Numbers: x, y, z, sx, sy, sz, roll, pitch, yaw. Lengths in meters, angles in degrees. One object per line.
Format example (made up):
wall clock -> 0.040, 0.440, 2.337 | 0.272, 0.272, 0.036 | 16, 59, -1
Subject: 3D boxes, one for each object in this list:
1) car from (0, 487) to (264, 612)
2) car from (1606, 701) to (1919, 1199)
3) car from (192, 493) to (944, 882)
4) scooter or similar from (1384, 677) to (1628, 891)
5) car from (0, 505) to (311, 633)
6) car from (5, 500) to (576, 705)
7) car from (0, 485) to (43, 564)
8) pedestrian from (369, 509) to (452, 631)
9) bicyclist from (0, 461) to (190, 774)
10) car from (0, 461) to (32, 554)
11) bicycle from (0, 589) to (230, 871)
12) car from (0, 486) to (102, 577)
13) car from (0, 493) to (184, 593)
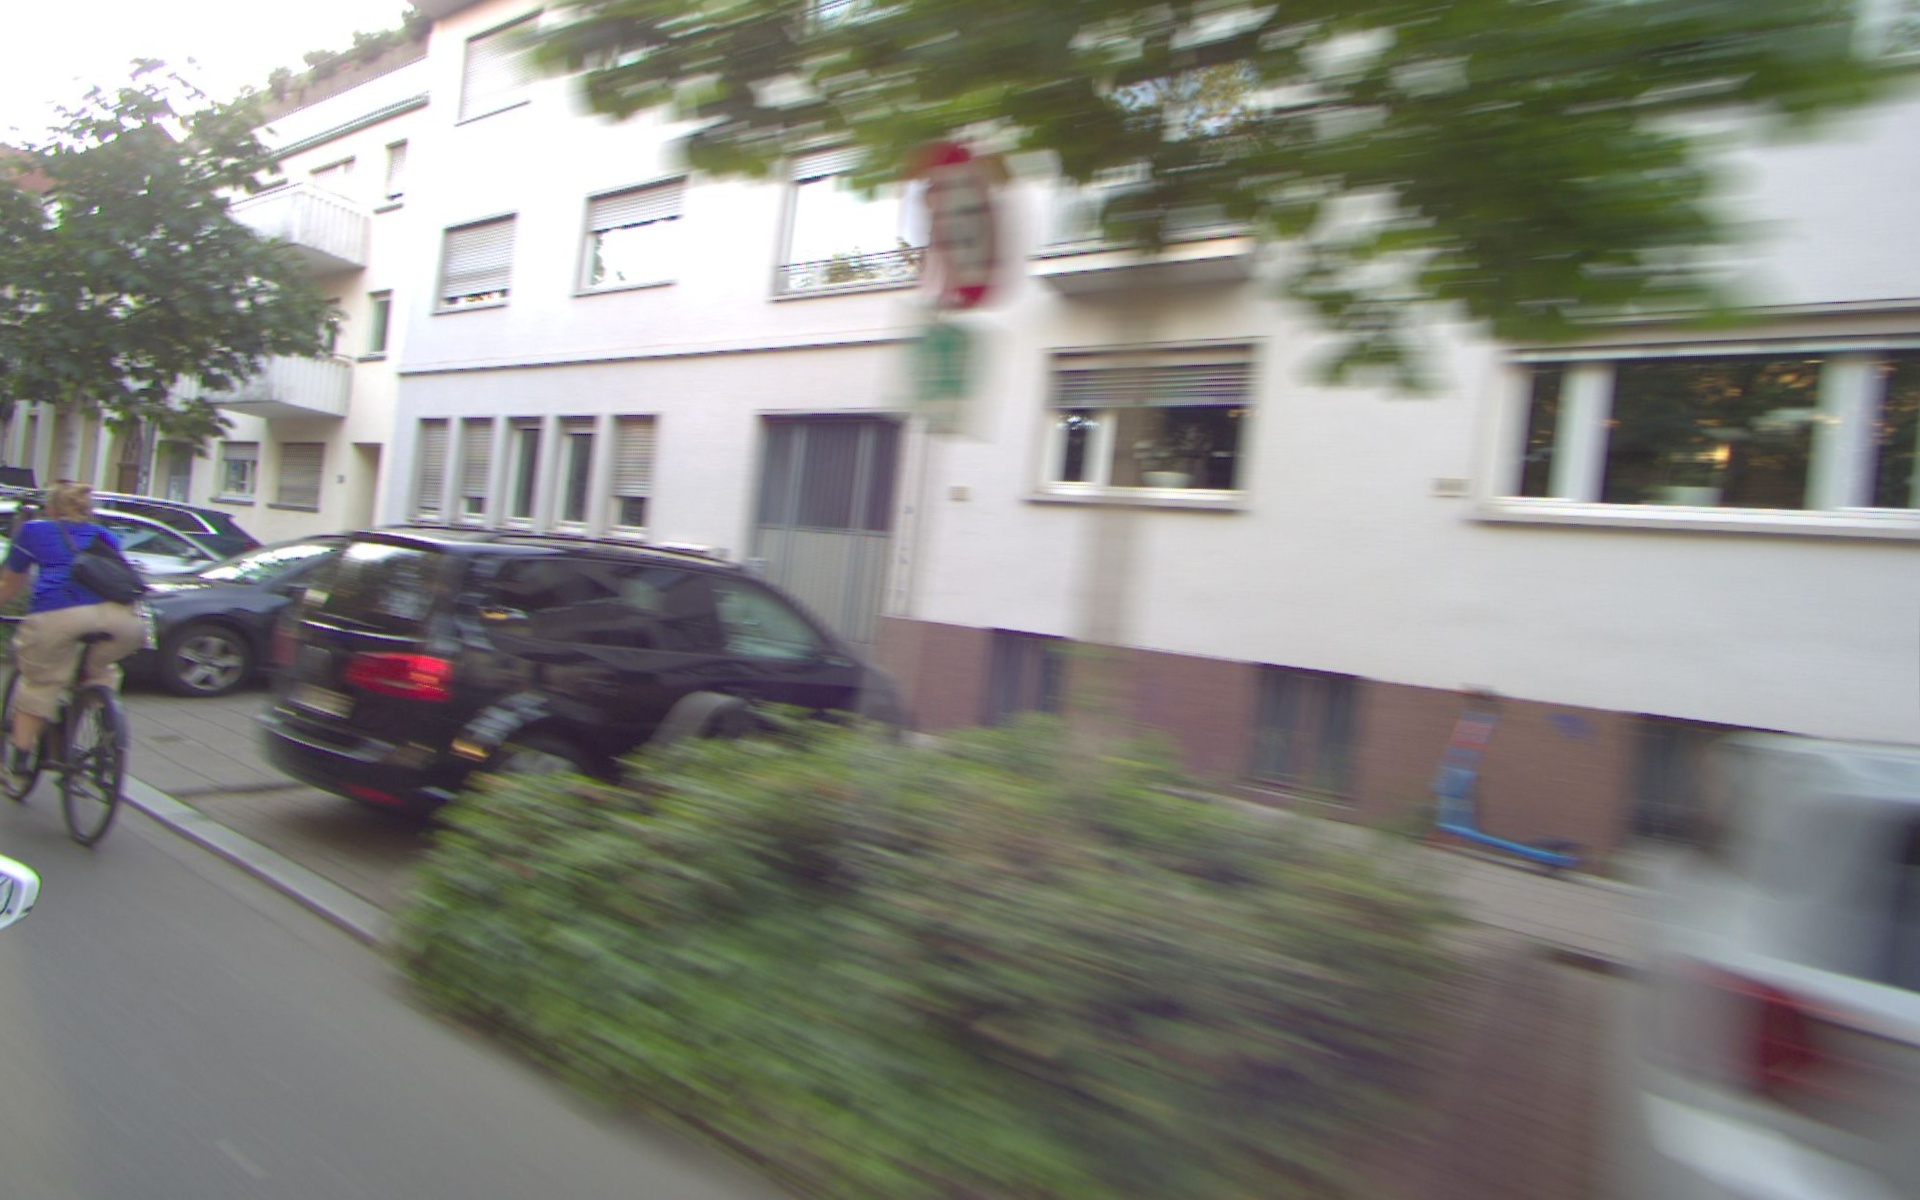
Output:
car -> -12.887, -0.738, 14.244 | 1.913, 1.600, 4.588 | 6, 2, 33
car -> 3.027, 1.149, 2.917 | 1.766, 1.455, 3.989 | 7, -1, 35
car -> -2.154, 0.487, 6.603 | 1.930, 1.637, 4.112 | 7, -1, 35
scooter or similar -> 3.937, 1.285, 7.337 | 1.402, 1.254, 0.345 | 7, 0, 45
car -> -11.066, -0.383, 13.029 | 1.790, 1.448, 4.069 | 6, 2, 36
car -> -6.284, 0.100, 9.997 | 1.765, 1.515, 4.317 | 6, 0, 33
car -> -21.239, -1.676, 19.951 | 1.938, 1.600, 4.154 | 6, 2, 33
pedestrian -> -8.753, -0.478, 16.029 | 0.867, 1.817, 0.697 | 7, 1, 35
bicyclist -> -4.401, 0.078, 4.888 | 0.763, 1.379, 0.673 | 6, -2, 30
car -> -23.299, -2.215, 21.541 | 2.005, 2.038, 4.686 | 6, 2, 34
bicycle -> -4.466, 0.533, 4.879 | 1.944, 1.042, 0.673 | 6, -2, 30
car -> -18.579, -1.368, 18.447 | 1.821, 1.600, 3.963 | 6, 2, 33
car -> -15.042, -0.955, 16.114 | 1.670, 1.442, 3.791 | 6, 2, 33
